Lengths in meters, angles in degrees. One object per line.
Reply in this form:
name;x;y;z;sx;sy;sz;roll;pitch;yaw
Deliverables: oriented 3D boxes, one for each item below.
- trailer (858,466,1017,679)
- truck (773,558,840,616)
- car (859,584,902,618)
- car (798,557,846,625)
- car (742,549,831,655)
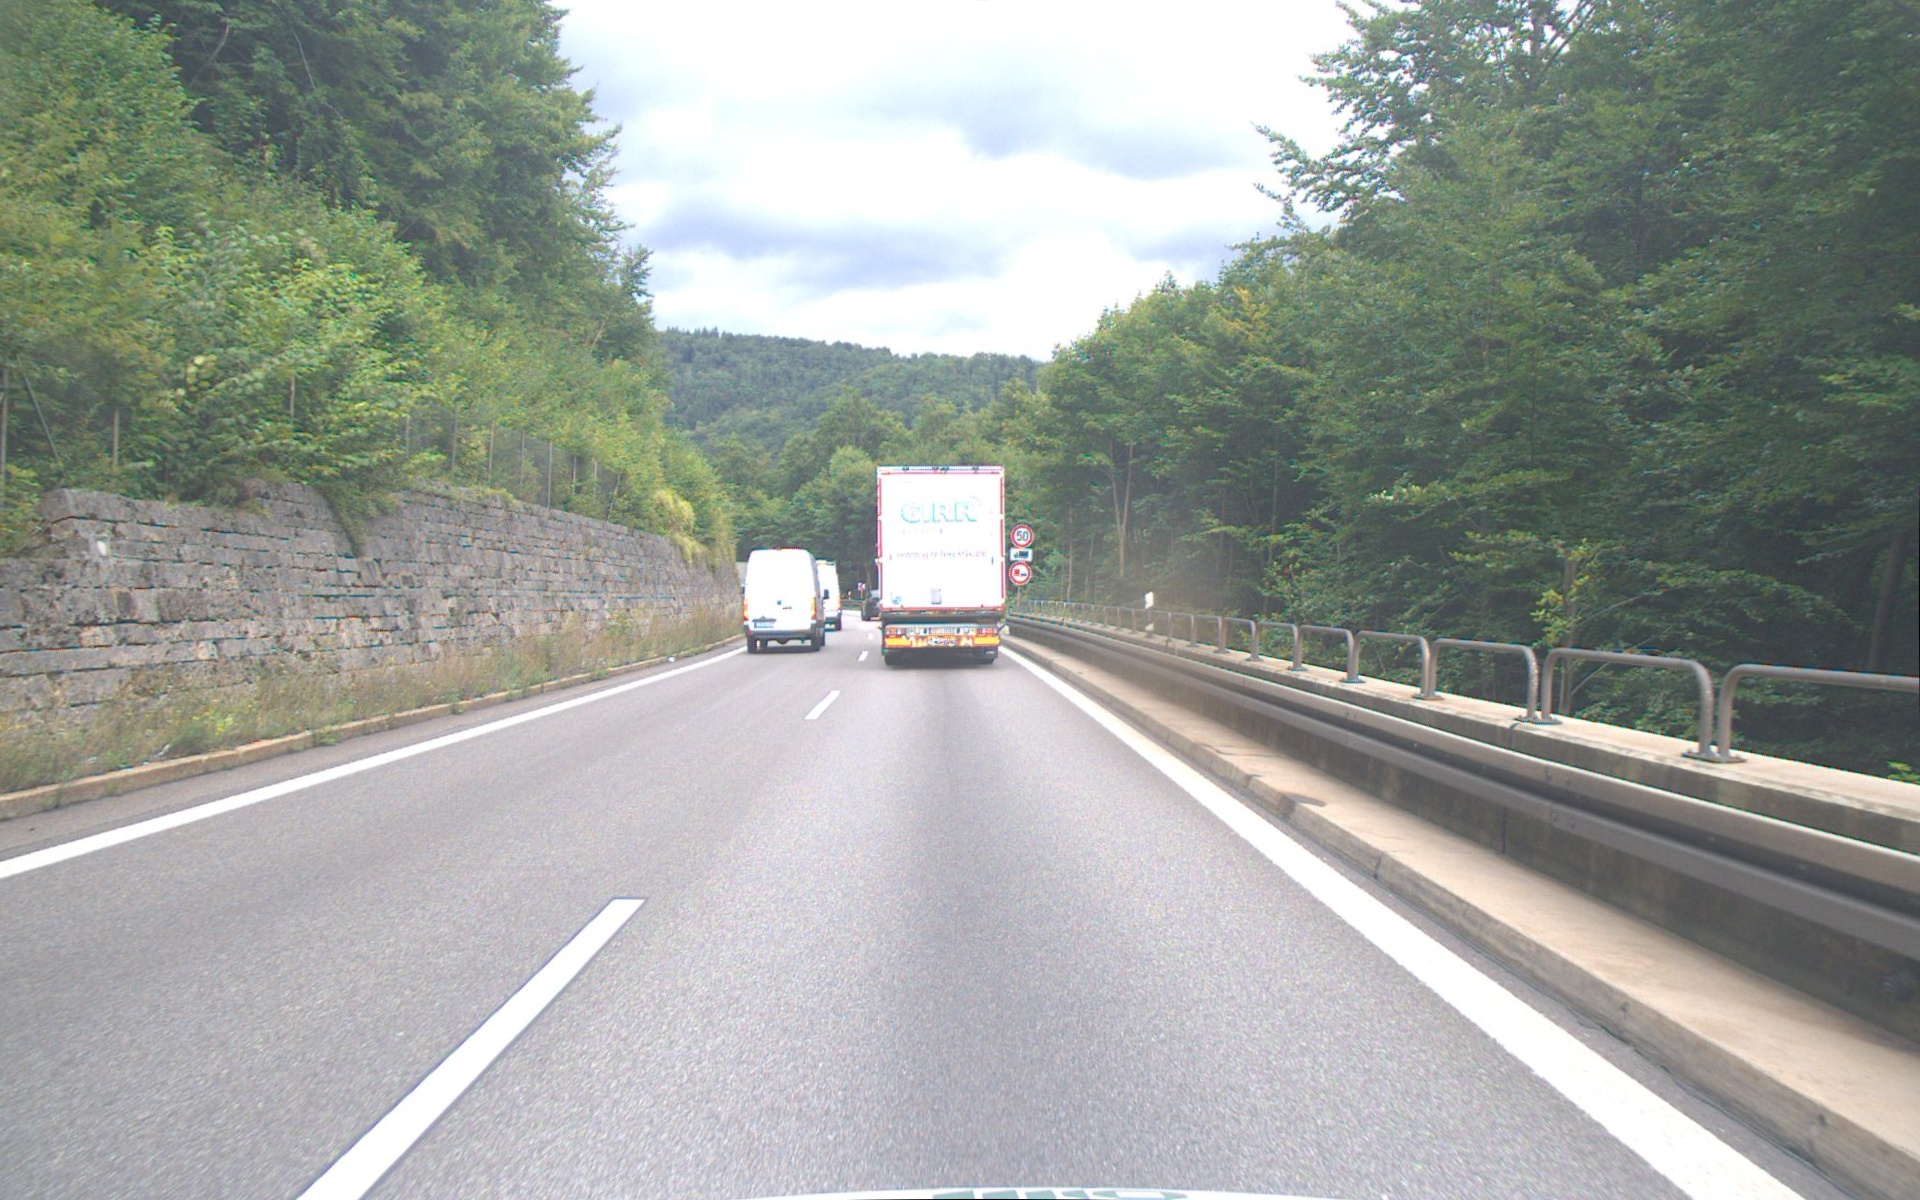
trailer;-0.619;-0.679;38.252;2.996;4.055;12.133;2;1;-2
truck;-11.836;-1.059;126.465;3.006;4.055;13.649;-2;1;-14
car;-4.258;0.046;87.848;1.956;1.691;3.994;1;0;-7
car;-5.927;-0.386;70.683;1.902;2.719;5.984;1;0;-5
car;-4.747;0.035;46.203;1.949;2.719;6.933;1;0;-2
